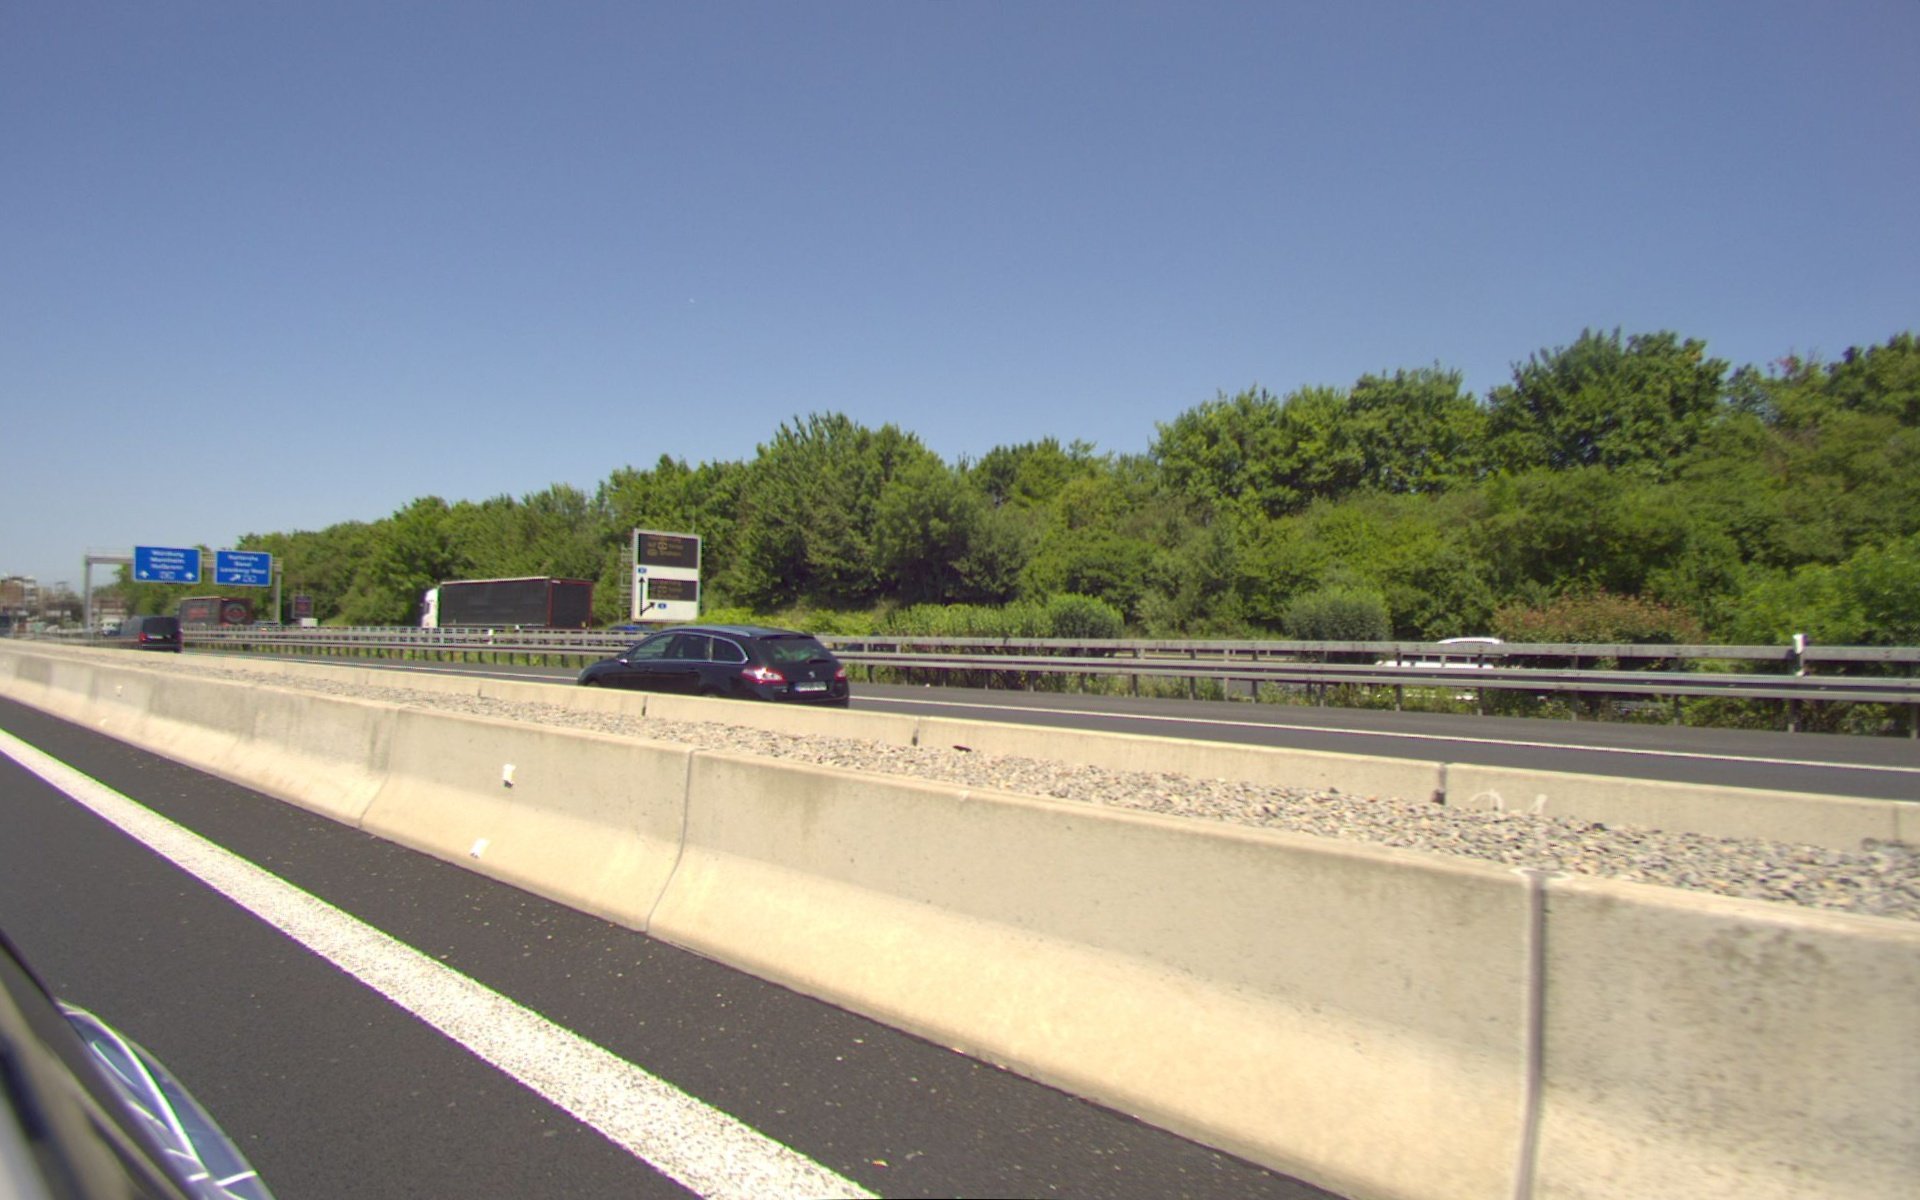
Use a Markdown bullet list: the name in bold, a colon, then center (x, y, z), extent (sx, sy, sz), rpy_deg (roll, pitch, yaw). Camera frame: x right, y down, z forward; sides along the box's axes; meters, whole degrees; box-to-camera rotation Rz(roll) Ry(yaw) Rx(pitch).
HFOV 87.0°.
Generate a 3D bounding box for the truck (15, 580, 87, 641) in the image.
- **truck**: center (-62.537, 0.745, 69.585), extent (5.894, 4.003, 2.899), rpy_deg (-1, -1, 40)

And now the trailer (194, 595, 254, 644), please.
- **trailer**: center (-71.053, 1.826, 97.522), extent (11.657, 4.467, 2.763), rpy_deg (-1, -1, 44)

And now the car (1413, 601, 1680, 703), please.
- **car**: center (11.865, 1.015, 20.642), extent (4.426, 1.872, 1.973), rpy_deg (-1, -3, 40)

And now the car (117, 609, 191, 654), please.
- **car**: center (-38.396, 1.441, 48.160), extent (4.483, 2.029, 1.973), rpy_deg (-1, -1, 41)

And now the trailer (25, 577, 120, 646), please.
- **trailer**: center (-56.846, 0.760, 64.674), extent (12.055, 4.076, 2.880), rpy_deg (-1, -1, 41)

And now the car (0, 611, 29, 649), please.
- **car**: center (-53.784, 1.645, 56.657), extent (4.953, 2.029, 2.029), rpy_deg (-1, -1, 42)

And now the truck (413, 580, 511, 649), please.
- **truck**: center (-31.181, 0.875, 63.278), extent (6.635, 4.076, 3.187), rpy_deg (-1, -1, 41)

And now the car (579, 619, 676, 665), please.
- **car**: center (-14.326, 1.781, 43.519), extent (4.426, 1.872, 1.973), rpy_deg (-1, -3, 40)

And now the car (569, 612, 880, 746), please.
- **car**: center (-3.332, 0.952, 13.781), extent (4.609, 1.548, 1.711), rpy_deg (-1, -1, 40)

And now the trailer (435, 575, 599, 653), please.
- **trailer**: center (-25.991, 0.806, 58.811), extent (13.528, 4.076, 3.187), rpy_deg (-1, -1, 41)
